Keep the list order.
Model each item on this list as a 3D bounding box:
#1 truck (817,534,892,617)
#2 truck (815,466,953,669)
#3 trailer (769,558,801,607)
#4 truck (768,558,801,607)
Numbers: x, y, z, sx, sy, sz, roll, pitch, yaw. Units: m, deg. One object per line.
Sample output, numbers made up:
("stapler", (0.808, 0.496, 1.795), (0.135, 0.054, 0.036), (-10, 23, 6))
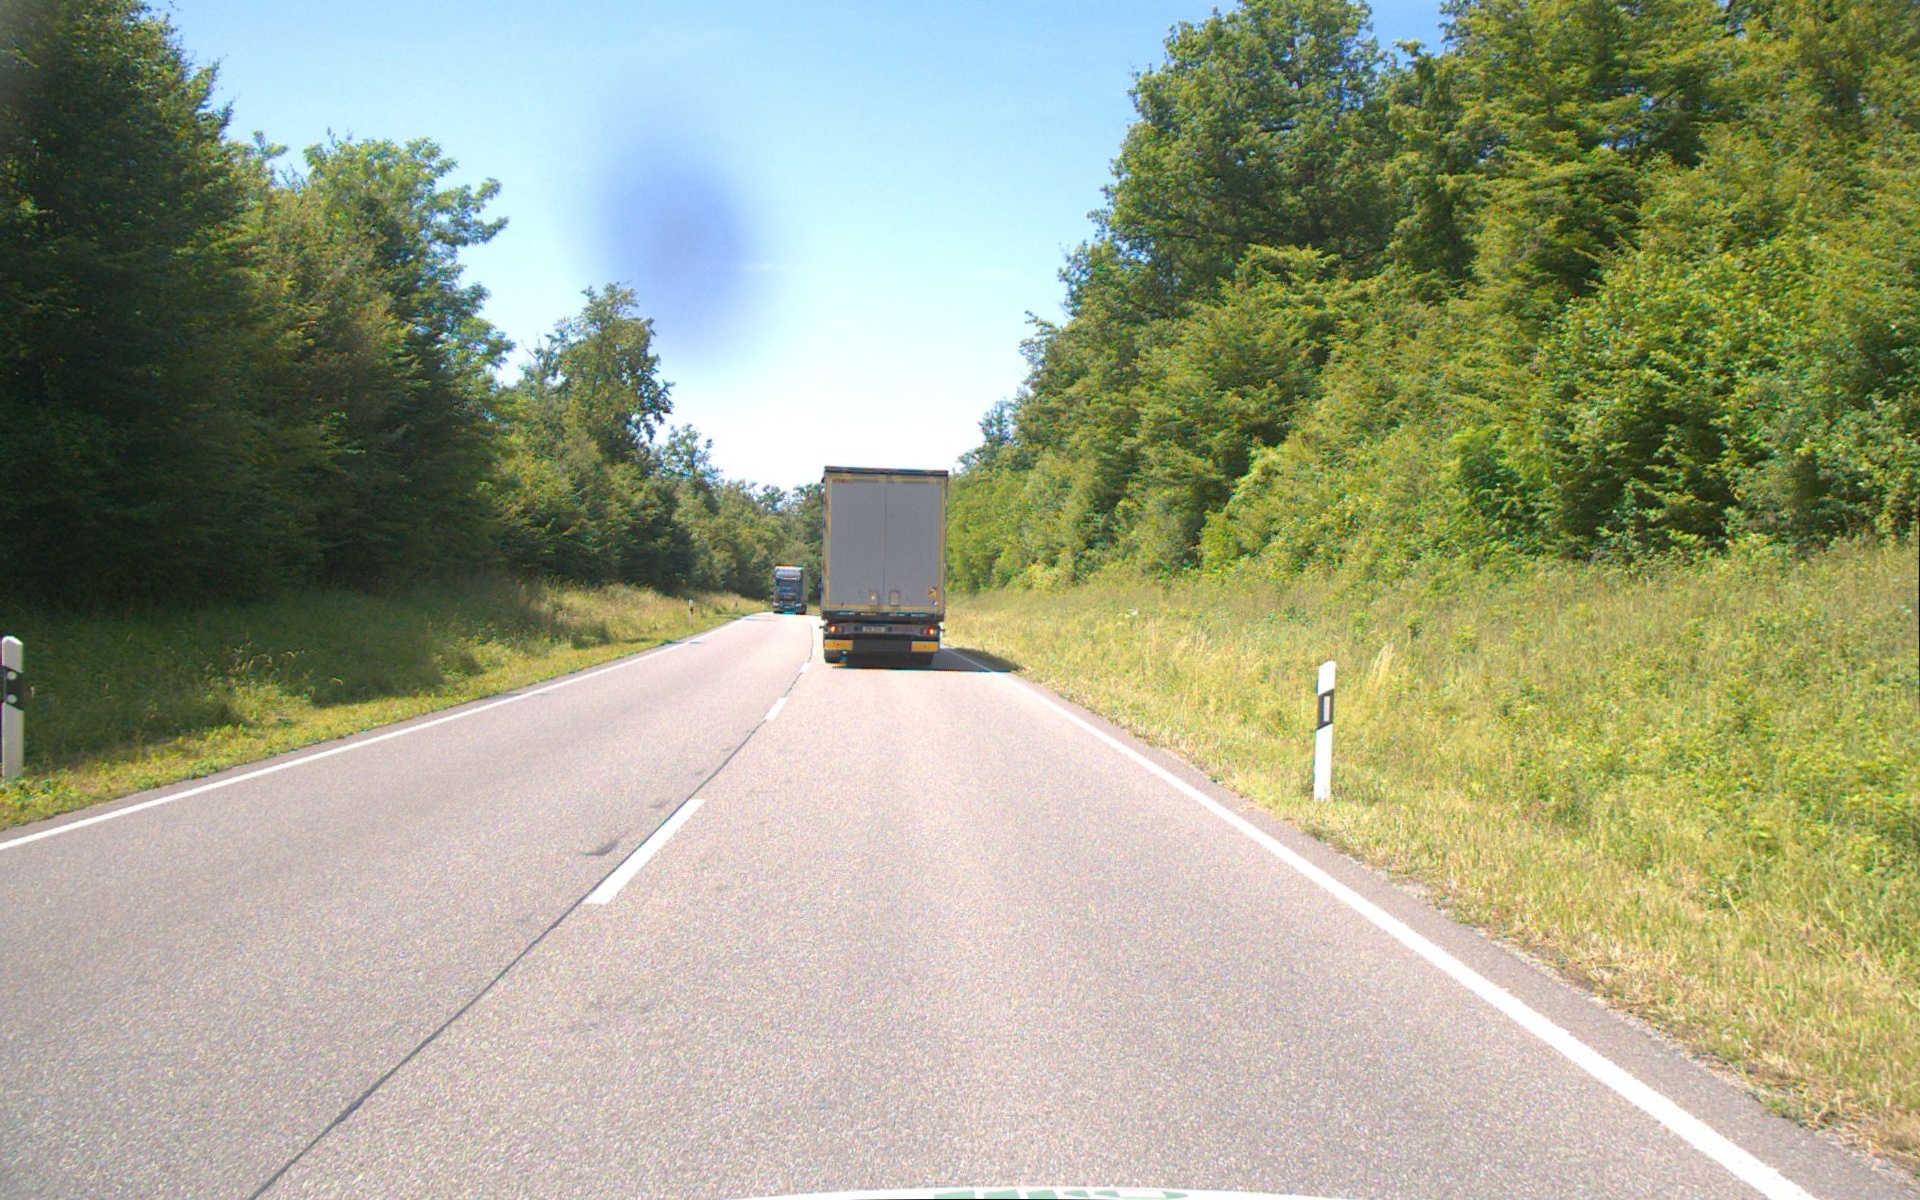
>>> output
("truck", (-6.450, -1.340, 98.631), (3.720, 4.449, 14.899), (2, 0, -6))
("truck", (-1.849, -0.683, 39.283), (2.706, 4.016, 12.190), (1, 0, -3))
("trailer", (-16.263, -1.577, 154.395), (2.885, 4.327, 13.604), (0, 0, -5))
("truck", (-15.652, -1.541, 148.021), (2.866, 4.289, 5.337), (0, 0, -6))
